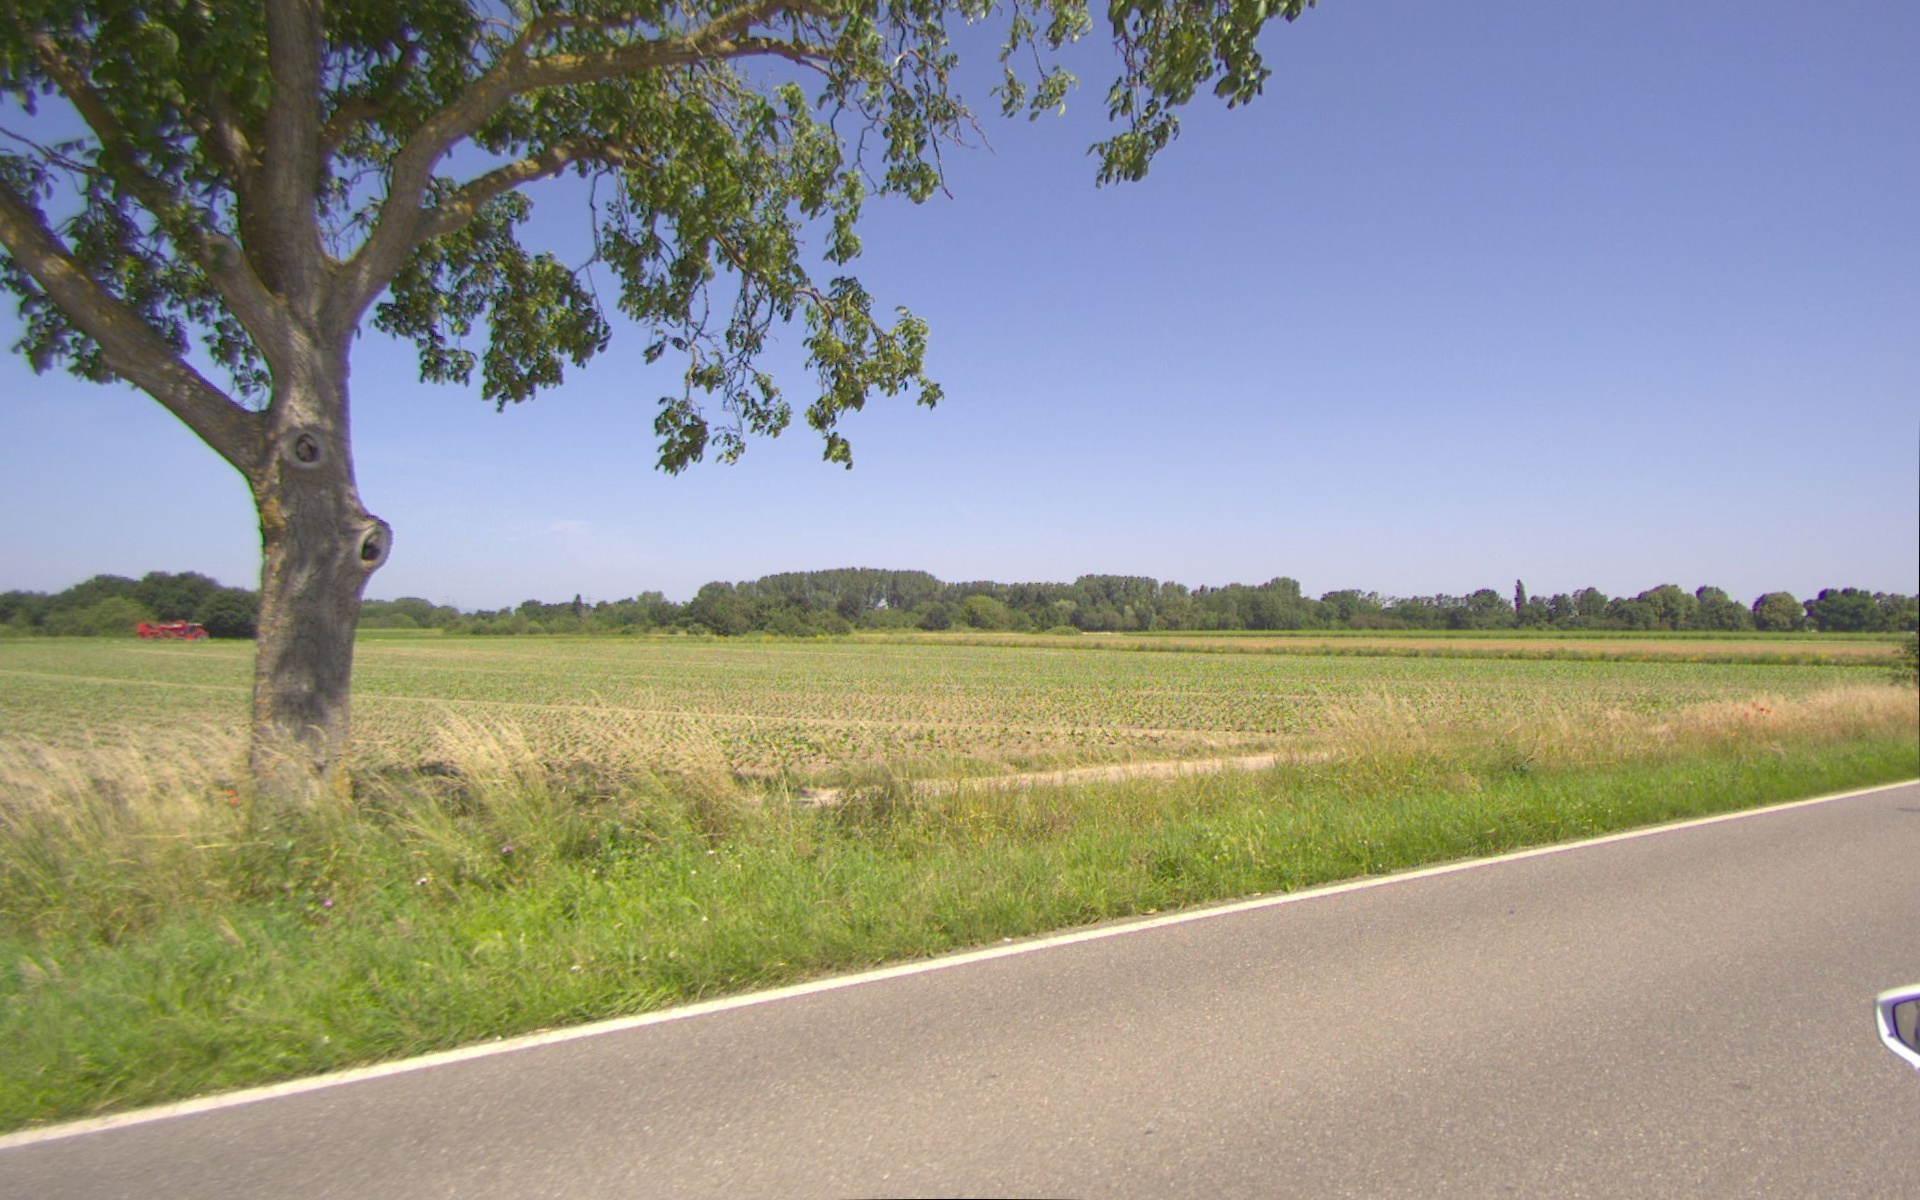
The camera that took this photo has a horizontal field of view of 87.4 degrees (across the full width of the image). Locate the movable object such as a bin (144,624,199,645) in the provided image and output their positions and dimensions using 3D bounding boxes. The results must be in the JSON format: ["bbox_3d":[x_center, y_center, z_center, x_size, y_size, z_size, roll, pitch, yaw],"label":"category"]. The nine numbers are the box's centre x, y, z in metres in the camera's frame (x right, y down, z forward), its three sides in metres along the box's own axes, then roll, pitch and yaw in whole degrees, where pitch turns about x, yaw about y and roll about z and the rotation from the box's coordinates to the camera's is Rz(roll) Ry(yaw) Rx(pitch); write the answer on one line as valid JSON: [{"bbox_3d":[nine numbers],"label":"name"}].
[{"bbox_3d":[-153.786,6.804,195.943,9.777,3.899,2.549,-1,-2,10],"label":"movable object such as a bin"}]
